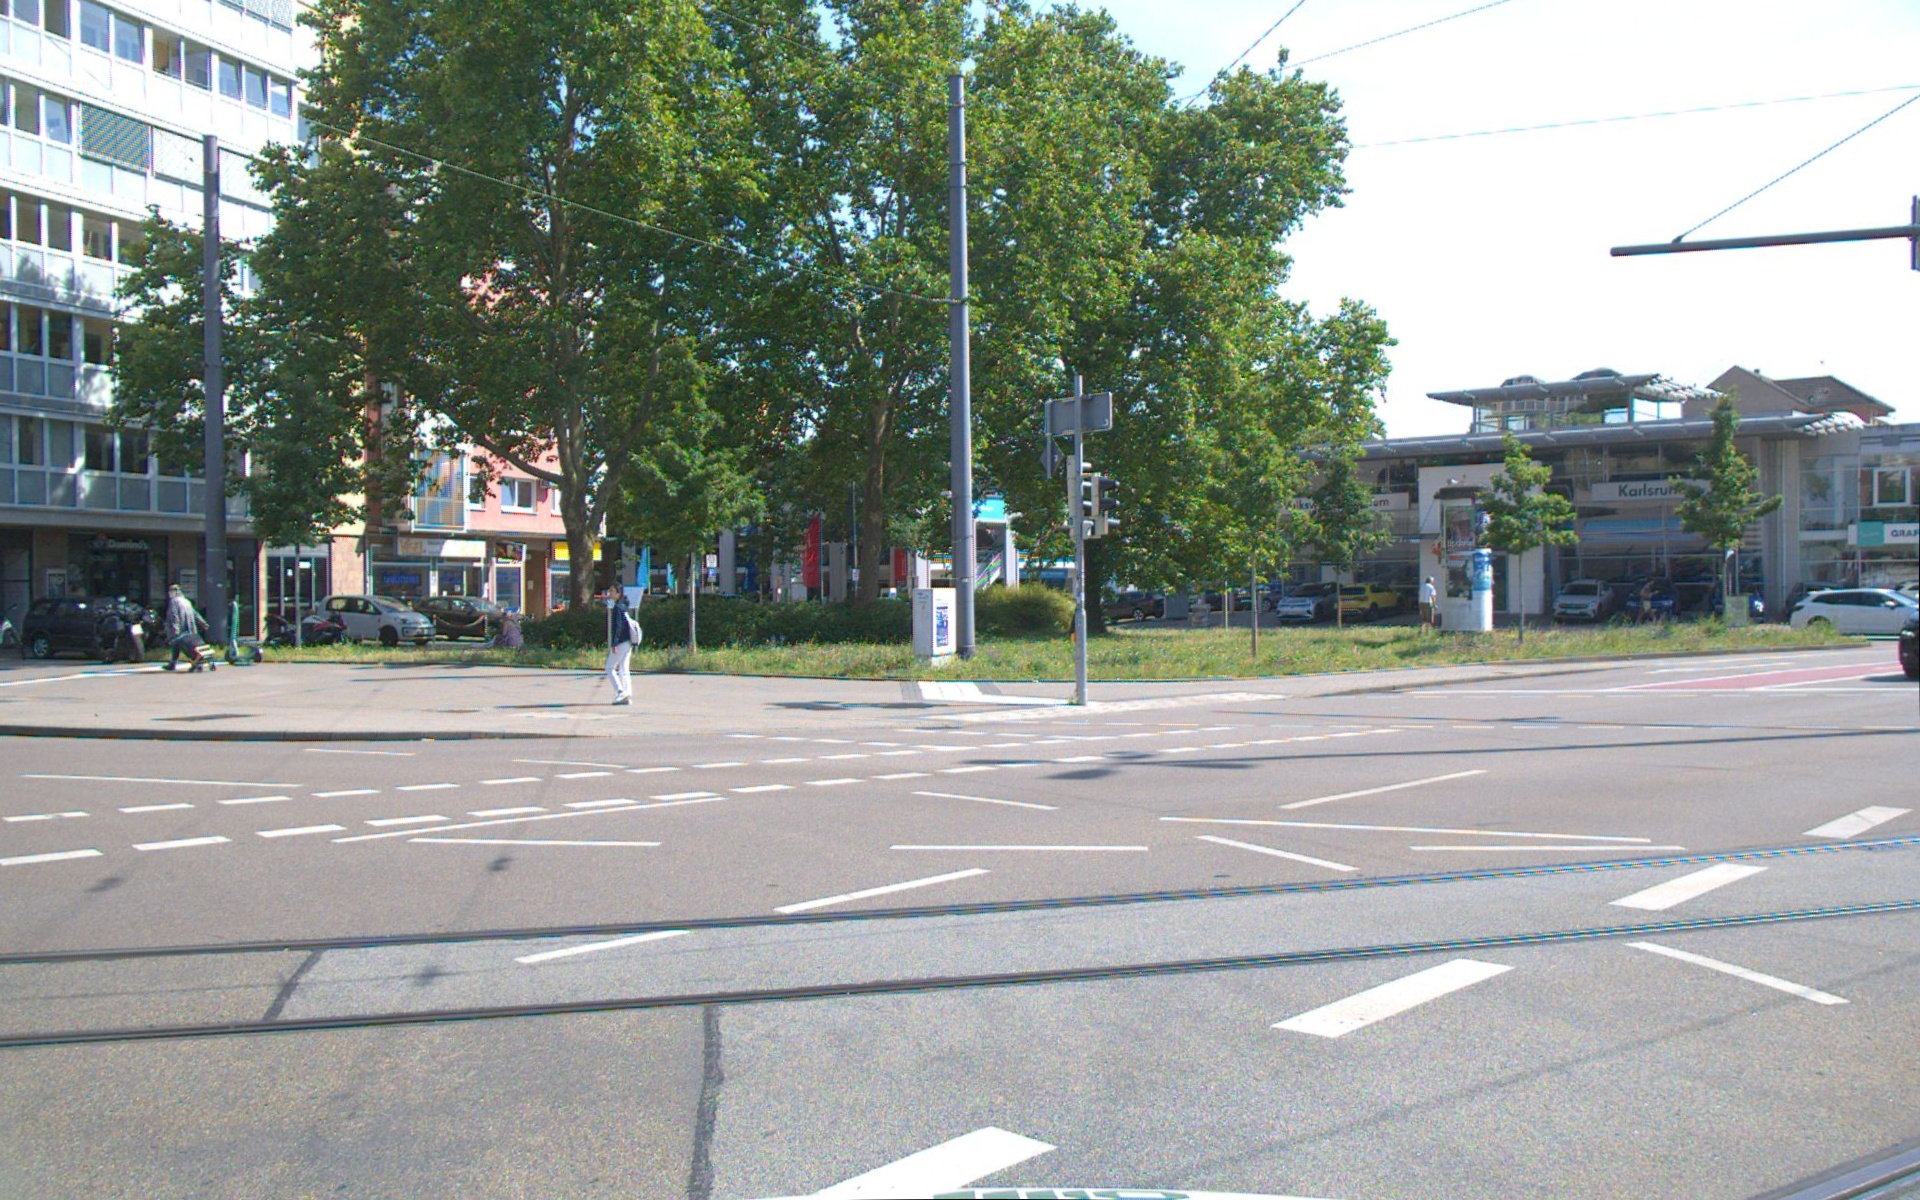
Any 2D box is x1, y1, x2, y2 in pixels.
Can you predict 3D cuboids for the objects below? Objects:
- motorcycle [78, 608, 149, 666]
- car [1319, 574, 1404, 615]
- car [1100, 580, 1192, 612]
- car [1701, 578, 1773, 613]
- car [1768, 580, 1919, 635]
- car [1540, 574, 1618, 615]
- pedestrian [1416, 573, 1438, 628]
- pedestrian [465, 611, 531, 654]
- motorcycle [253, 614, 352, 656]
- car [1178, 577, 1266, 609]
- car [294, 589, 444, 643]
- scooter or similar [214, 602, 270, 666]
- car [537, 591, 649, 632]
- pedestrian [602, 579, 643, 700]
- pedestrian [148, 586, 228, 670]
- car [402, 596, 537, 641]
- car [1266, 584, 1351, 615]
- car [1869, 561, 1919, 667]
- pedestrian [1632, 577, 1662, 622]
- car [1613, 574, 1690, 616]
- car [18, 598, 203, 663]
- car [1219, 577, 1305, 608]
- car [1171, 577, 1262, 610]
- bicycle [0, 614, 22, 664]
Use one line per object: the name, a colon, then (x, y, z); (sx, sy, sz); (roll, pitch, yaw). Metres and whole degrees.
motorcycle: (-16.476, 0.705, 32.162); (2.004, 1.080, 0.636); (0, 1, 45)
car: (17.518, -0.240, 72.086); (1.964, 1.713, 3.977); (2, 1, 41)
car: (8.908, -0.209, 79.343); (3.921, 1.395, 1.992); (2, 2, 36)
car: (29.026, -0.179, 61.738); (1.799, 1.216, 3.986); (2, 2, 35)
car: (26.238, 0.201, 48.354); (1.430, 1.461, 4.535); (1, 1, -39)
car: (24.597, -0.242, 65.638); (1.959, 1.512, 3.987); (2, 1, 35)
pedestrian: (13.988, 0.018, 49.532); (0.457, 1.623, 0.389); (1, 1, -30)
pedestrian: (-10.284, 0.719, 36.840); (1.147, 0.908, 0.823); (-1, 0, 17)
motorcycle: (-14.645, 0.774, 36.881); (2.001, 0.856, 0.637); (-1, 0, -20)
car: (13.184, -0.348, 83.241); (3.919, 1.534, 1.993); (0, 1, 35)
car: (-17.636, 0.456, 49.380); (3.905, 1.465, 1.891); (2, 1, 20)
scooter or similar: (-13.248, 0.620, 30.509); (0.513, 1.139, 1.342); (-1, 1, -43)
car: (-13.582, 0.399, 61.240); (3.646, 1.363, 1.744); (2, 1, 20)
pedestrian: (-4.644, 0.540, 22.775); (0.443, 1.633, 0.400); (1, 1, 0)
pedestrian: (-13.556, 0.478, 29.044); (1.090, 1.428, 0.657); (2, 1, 15)
car: (-15.881, 0.588, 53.557); (3.905, 1.292, 1.744); (2, 1, 20)
car: (15.438, -0.022, 73.178); (1.964, 1.266, 3.977); (2, 2, 41)
car: (16.393, 0.231, 26.300); (4.164, 1.615, 1.873); (1, -1, -37)
pedestrian: (25.378, -0.021, 61.092); (0.937, 1.607, 0.533); (2, 1, 34)
car: (26.758, -0.211, 63.955); (1.959, 1.512, 3.987); (2, 1, 35)
car: (-20.410, 0.753, 39.746); (3.995, 1.496, 1.659); (0, -3, 20)
car: (15.554, -0.378, 85.154); (3.919, 1.534, 1.993); (0, 1, 35)
car: (12.481, -0.315, 80.430); (3.919, 1.579, 1.993); (0, 1, 35)
bicycle: (-22.083, 0.910, 37.103); (0.571, 1.104, 1.754); (-1, 1, 29)
